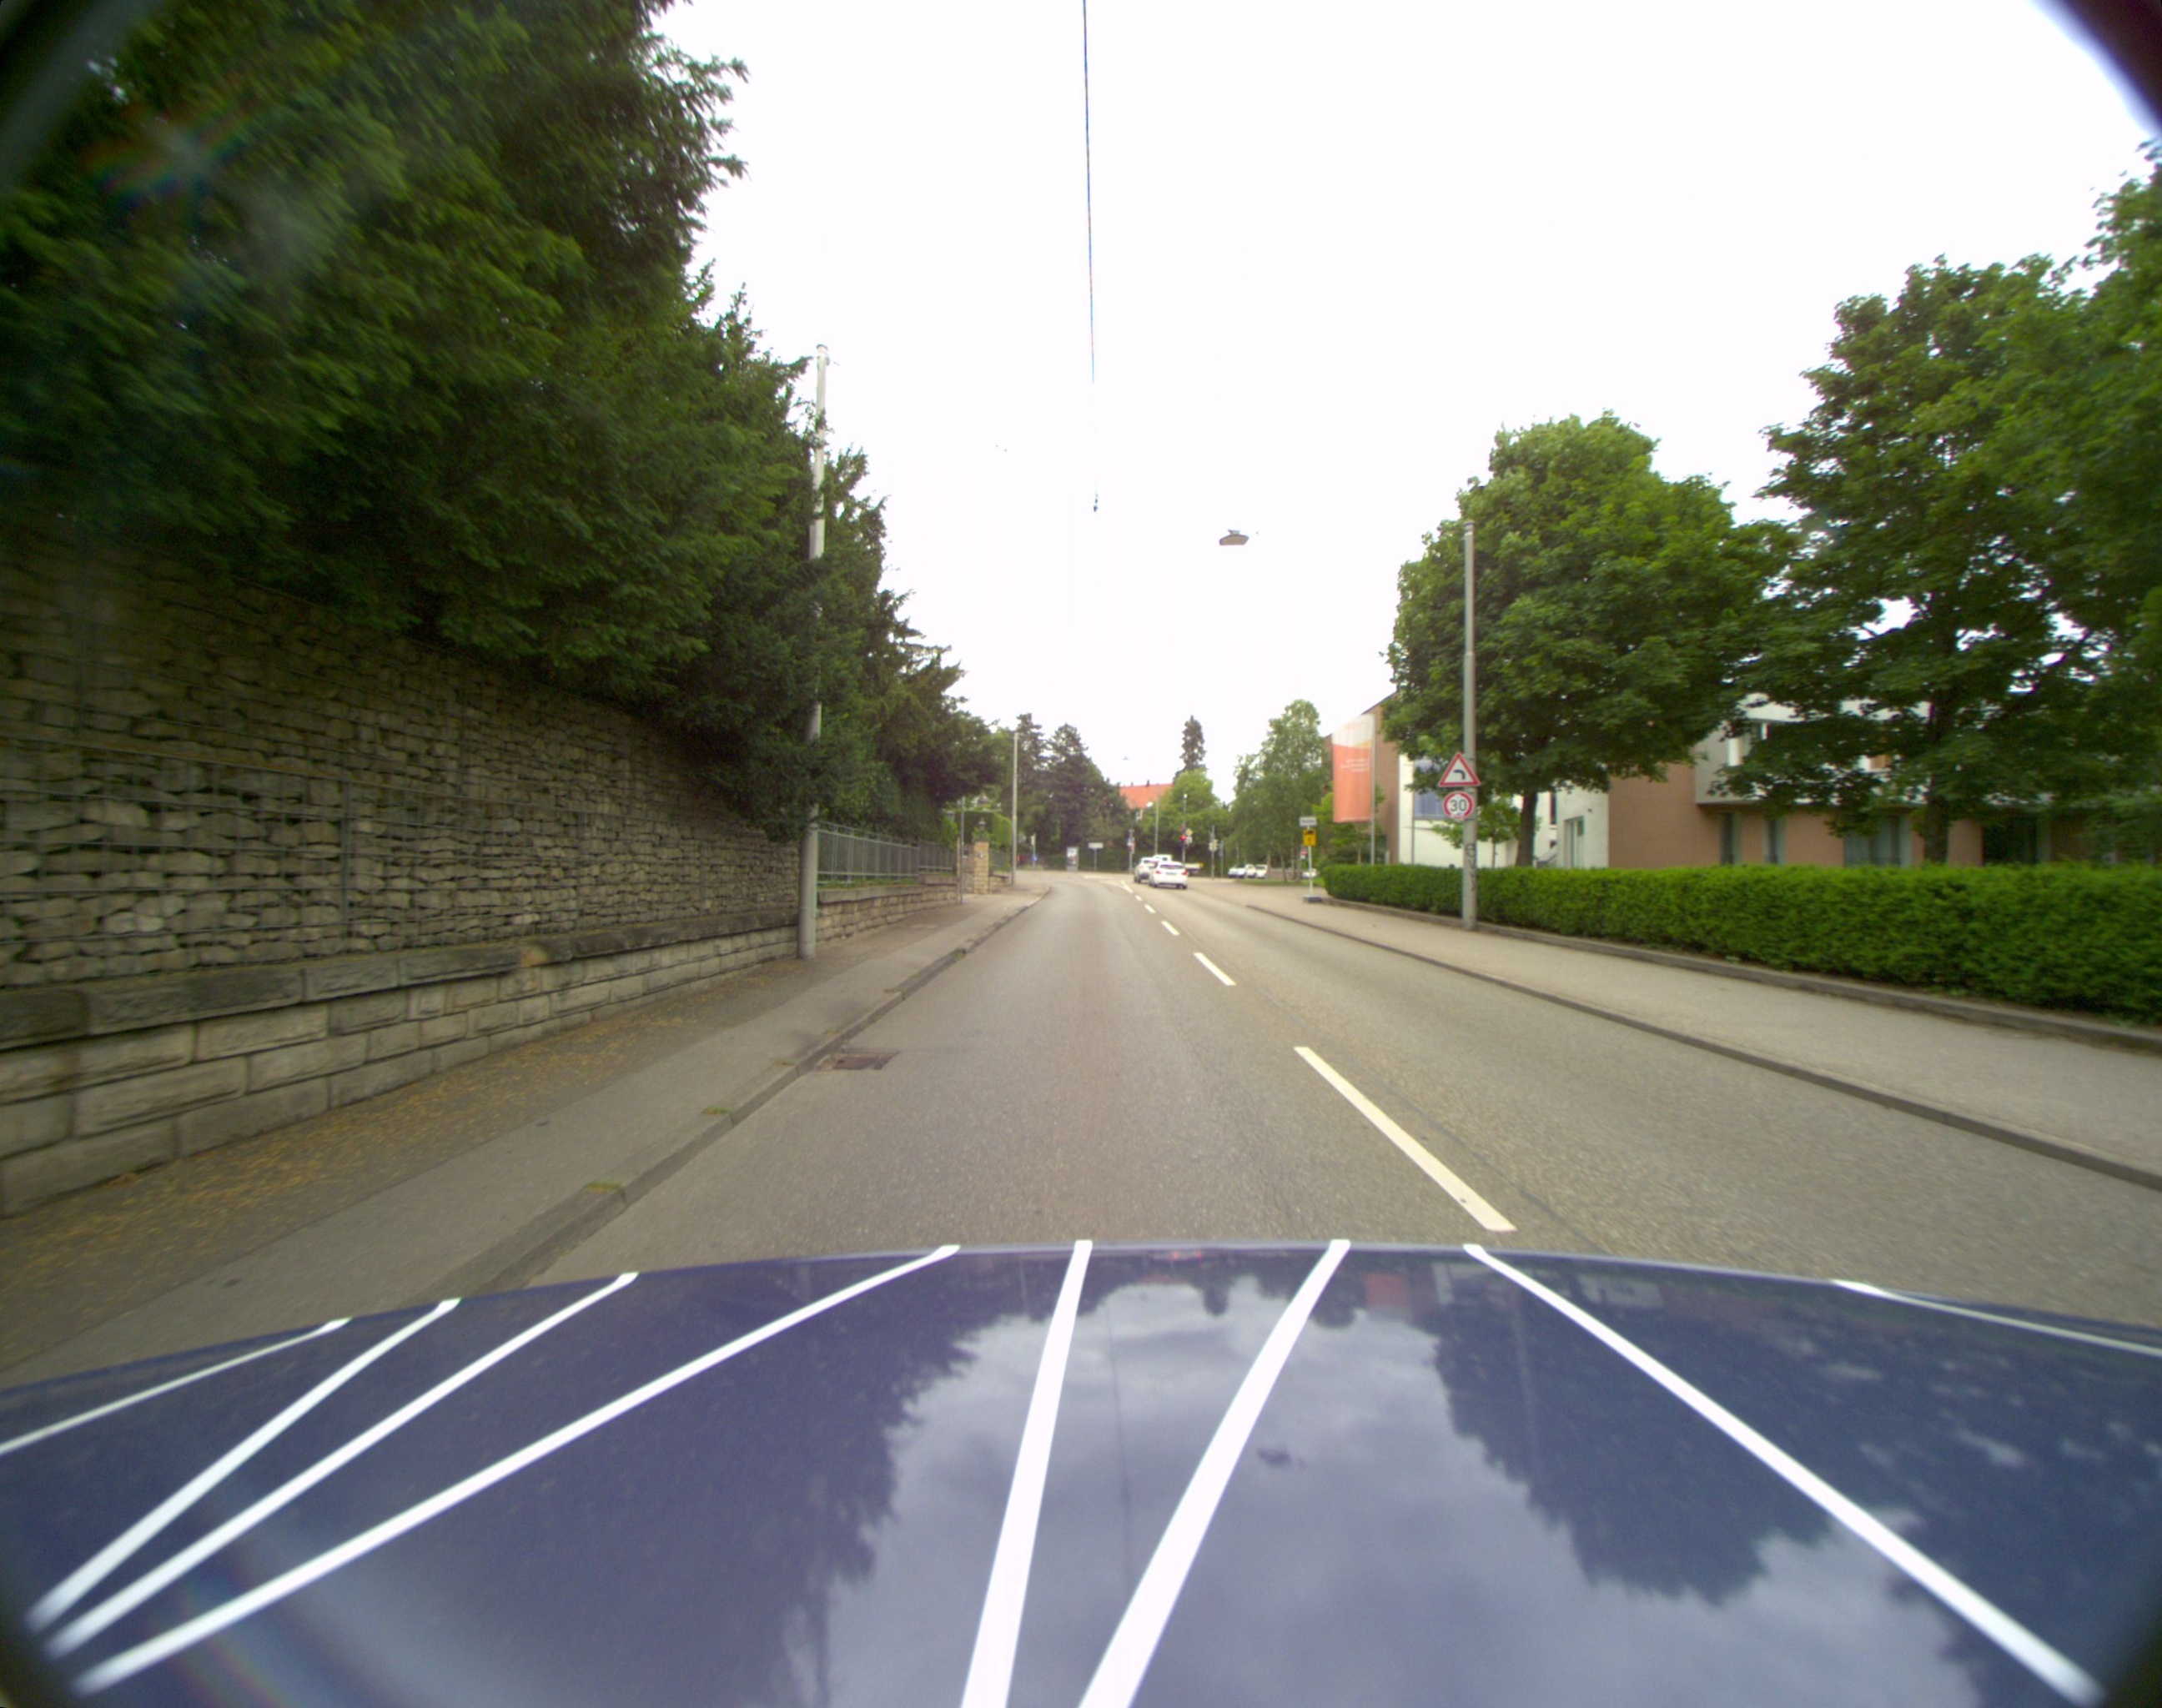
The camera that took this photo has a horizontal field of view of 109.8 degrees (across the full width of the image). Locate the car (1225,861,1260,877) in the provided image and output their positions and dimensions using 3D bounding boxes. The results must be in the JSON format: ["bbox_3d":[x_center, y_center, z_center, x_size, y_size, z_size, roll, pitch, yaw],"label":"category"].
[{"bbox_3d":[17.439,1.640,81.880,1.994,1.603,4.010,2,0,39],"label":"car"}]

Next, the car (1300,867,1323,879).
[{"bbox_3d":[31.695,2.580,104.215,1.866,1.577,3.739,2,0,36],"label":"car"}]

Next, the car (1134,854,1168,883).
[{"bbox_3d":[4.368,0.895,47.911,1.773,1.628,4.302,4,0,1],"label":"car"}]

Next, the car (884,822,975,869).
[{"bbox_3d":[-7.181,-0.380,36.334,3.749,1.603,1.814,10,0,0],"label":"car"}]

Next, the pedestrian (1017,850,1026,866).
[{"bbox_3d":[-6.726,0.474,85.449,0.665,1.777,0.614,2,0,28],"label":"pedestrian"}]

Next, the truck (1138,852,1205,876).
[{"bbox_3d":[9.516,0.997,79.526,6.706,2.176,2.532,2,1,12],"label":"truck"}]

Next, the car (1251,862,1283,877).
[{"bbox_3d":[21.118,1.788,86.138,1.994,1.603,4.010,2,0,39],"label":"car"}]

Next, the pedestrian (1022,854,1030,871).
[{"bbox_3d":[-6.277,0.972,86.183,0.611,1.824,0.605,3,0,28],"label":"pedestrian"}]

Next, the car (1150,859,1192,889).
[{"bbox_3d":[4.807,1.060,41.192,1.771,1.413,4.065,3,0,1],"label":"car"}]
